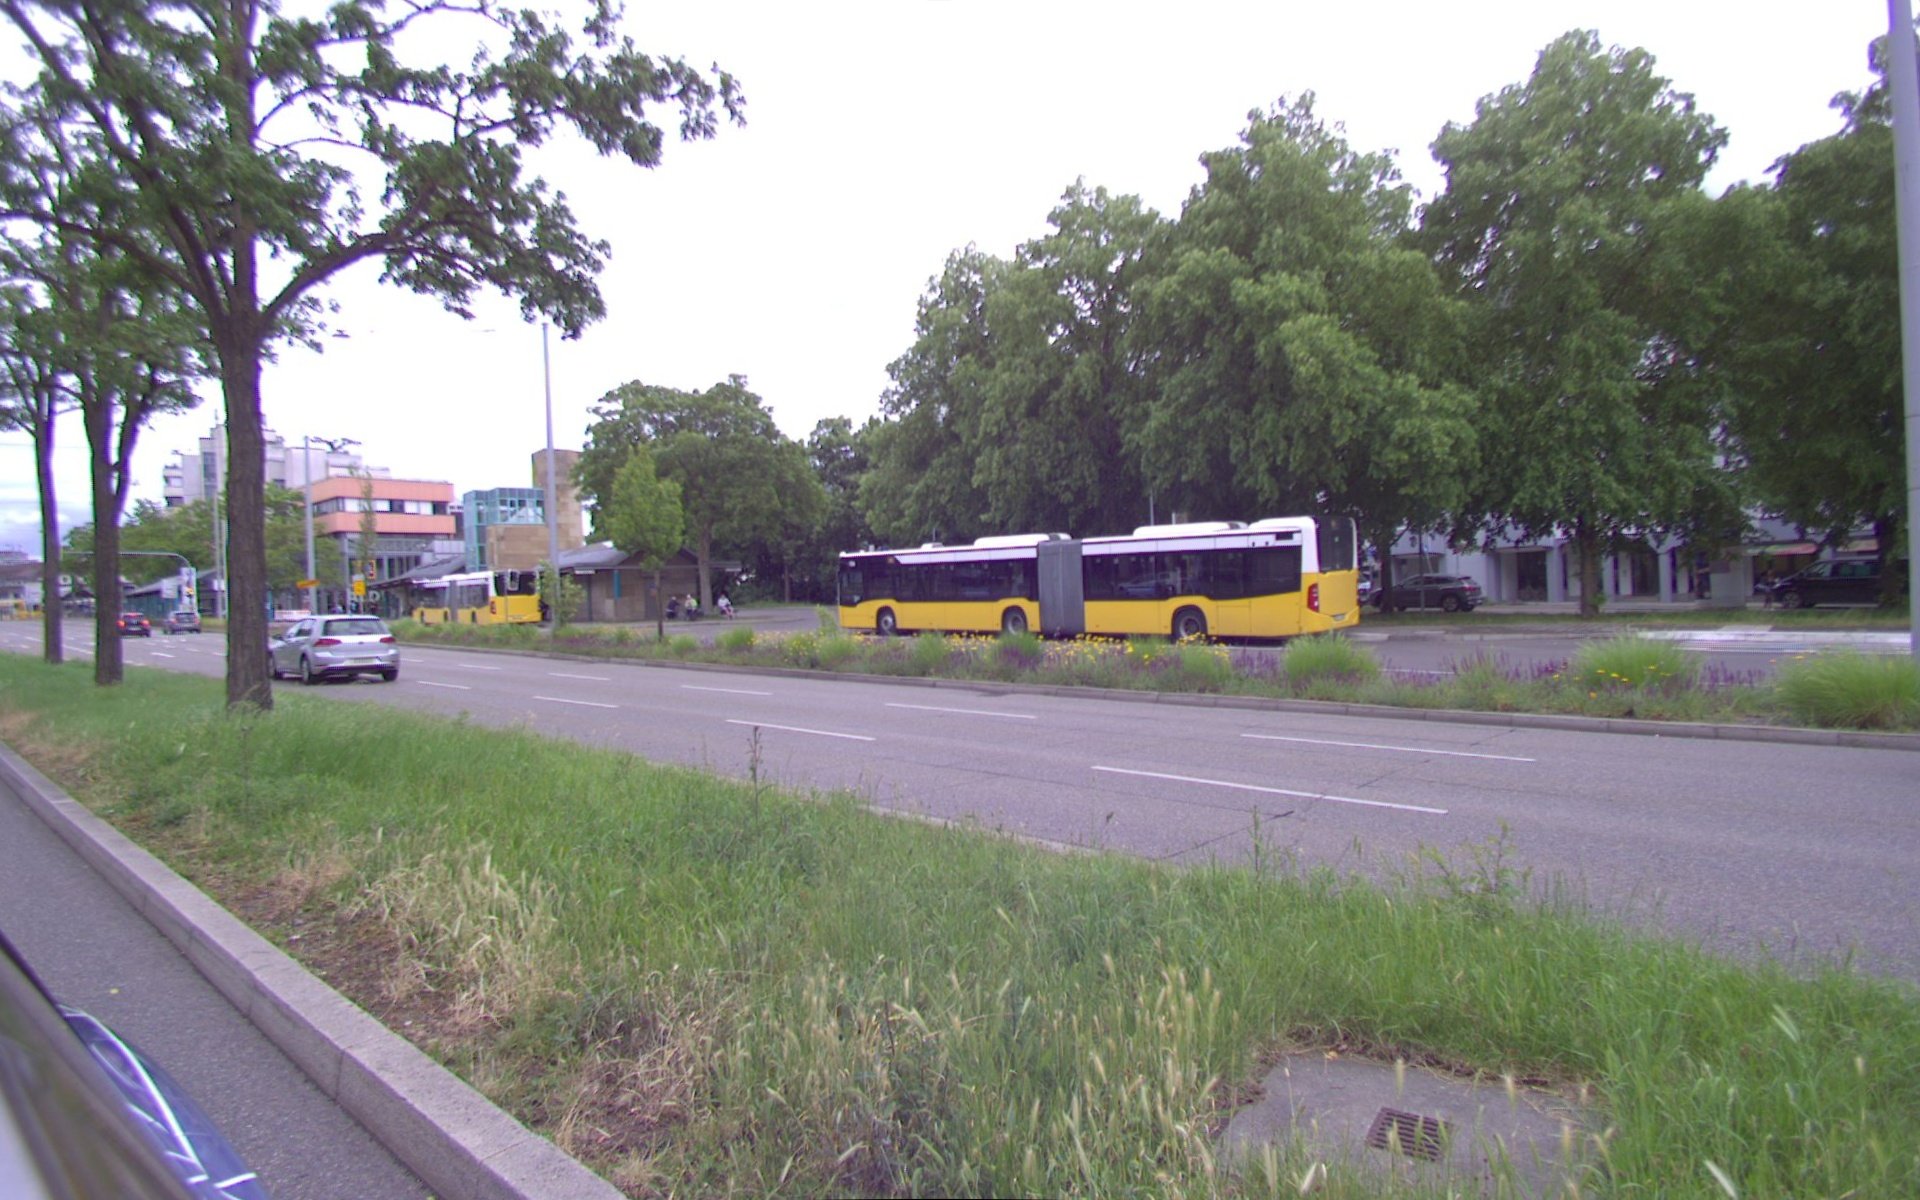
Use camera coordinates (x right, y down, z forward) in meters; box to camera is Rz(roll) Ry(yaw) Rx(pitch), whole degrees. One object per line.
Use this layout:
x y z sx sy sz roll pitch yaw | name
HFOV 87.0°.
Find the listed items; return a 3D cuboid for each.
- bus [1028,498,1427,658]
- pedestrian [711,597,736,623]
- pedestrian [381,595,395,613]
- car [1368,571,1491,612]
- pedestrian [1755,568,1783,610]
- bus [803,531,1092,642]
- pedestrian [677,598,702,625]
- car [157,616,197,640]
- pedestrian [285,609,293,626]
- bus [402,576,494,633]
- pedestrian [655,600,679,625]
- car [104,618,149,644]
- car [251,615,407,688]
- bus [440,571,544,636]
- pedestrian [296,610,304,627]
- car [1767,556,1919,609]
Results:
6.526 -0.462 26.548 2.996 3.481 9.918 -4 2 -44 | bus
-11.922 0.514 51.114 0.858 1.264 0.883 -2 0 43 | pedestrian
-48.370 0.313 85.587 0.975 1.472 0.593 -2 0 -32 | pedestrian
19.676 -0.332 42.534 1.970 1.593 4.251 -1 0 -44 | car
30.890 -0.413 38.643 0.649 1.559 0.668 -1 0 -40 | pedestrian
-0.806 -0.400 34.120 3.048 3.186 10.744 -4 2 -44 | bus
-13.447 0.578 50.346 0.888 1.300 0.853 -1 0 19 | pedestrian
-54.027 1.911 69.825 1.794 1.519 4.004 -1 0 -43 | car
-62.309 1.649 93.979 0.521 1.559 0.756 -2 0 -32 | pedestrian
-31.734 0.336 62.521 2.742 3.155 9.452 -4 2 -41 | bus
-15.051 0.639 51.993 0.887 1.264 0.854 -1 0 14 | pedestrian
-51.955 1.885 63.053 3.768 1.519 1.640 -1 0 43 | car
-13.880 1.089 22.179 4.131 1.455 1.735 -2 -2 40 | car
-25.784 0.221 55.402 2.774 3.155 9.316 -4 2 -39 | bus
-61.709 1.762 94.649 0.382 1.559 0.479 -2 0 34 | pedestrian
34.103 -0.639 38.586 1.967 1.846 4.829 -1 0 -34 | car
